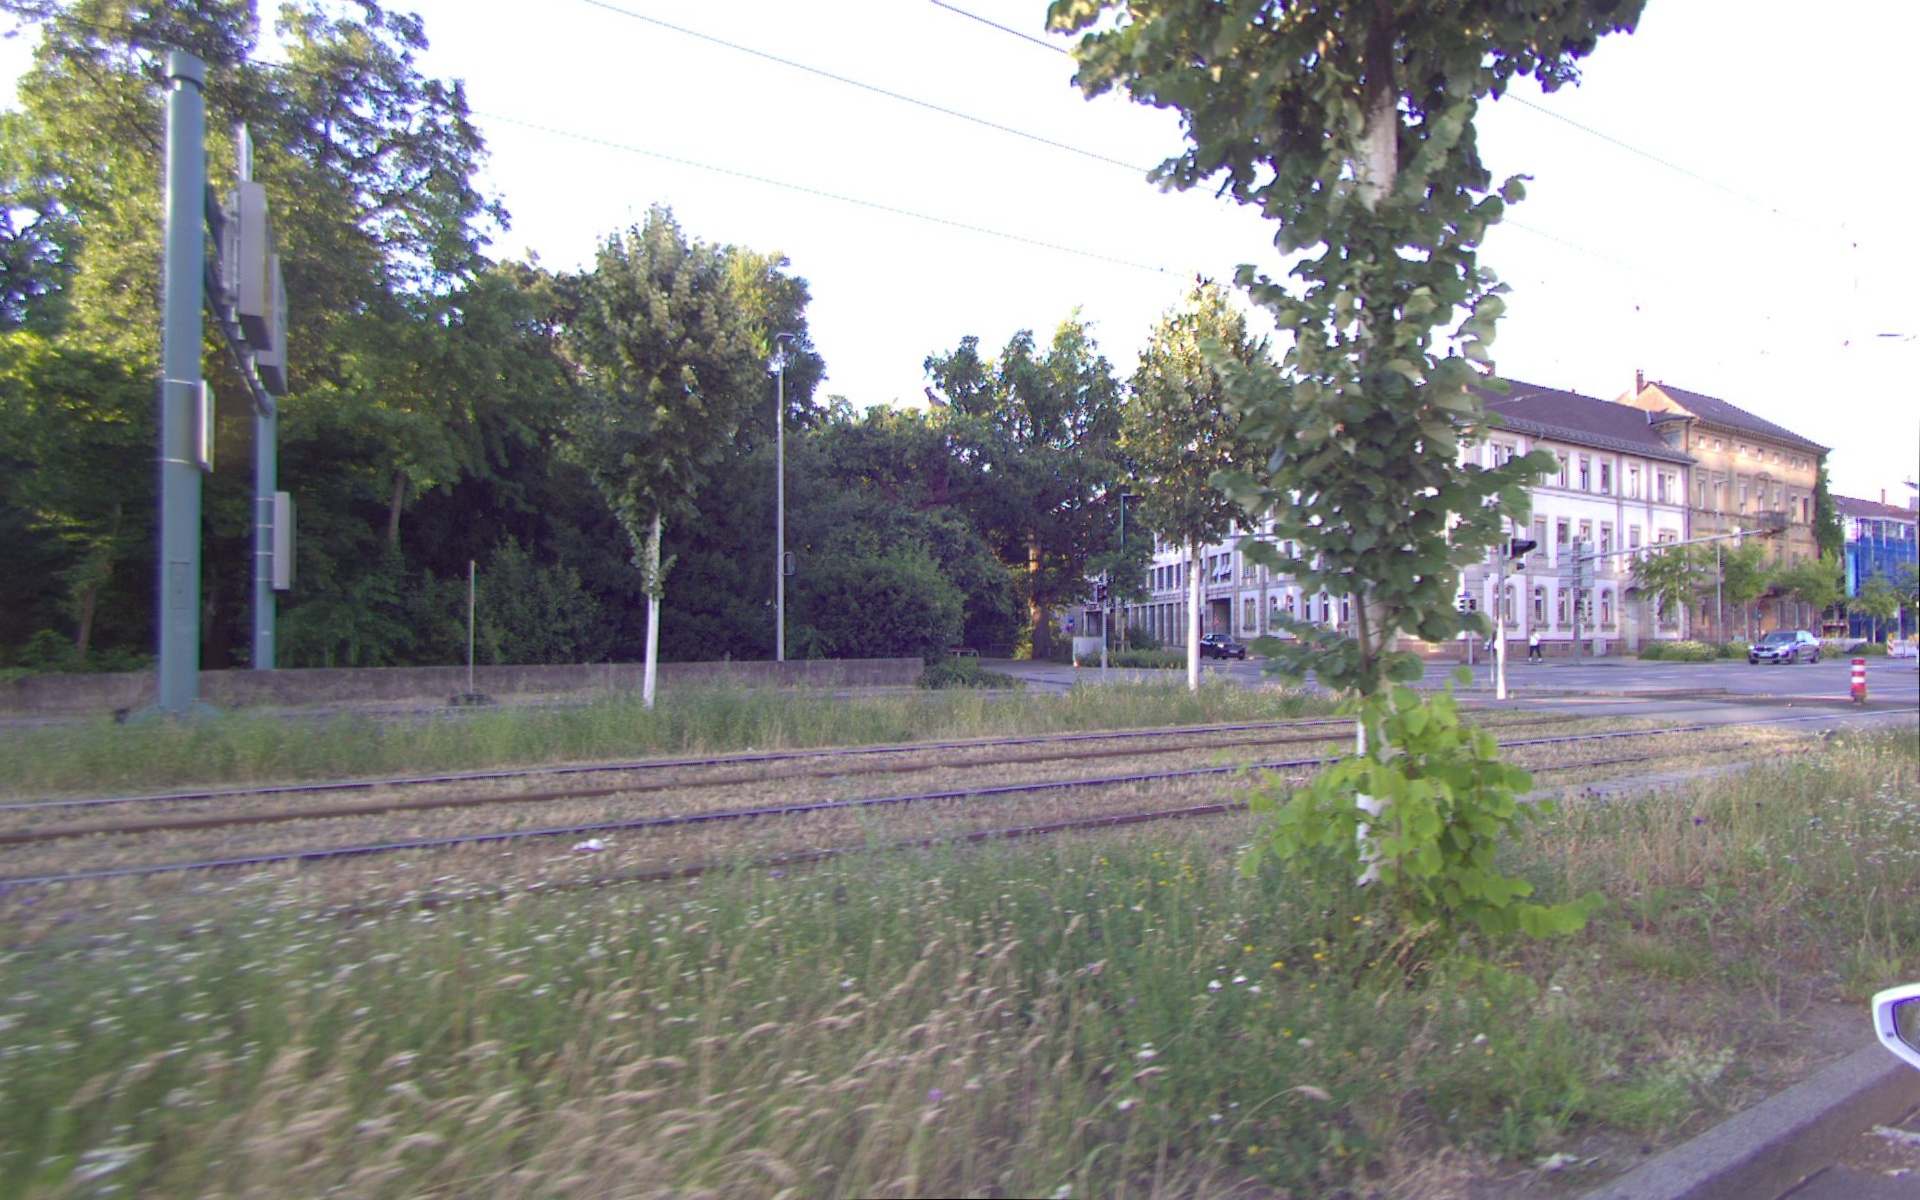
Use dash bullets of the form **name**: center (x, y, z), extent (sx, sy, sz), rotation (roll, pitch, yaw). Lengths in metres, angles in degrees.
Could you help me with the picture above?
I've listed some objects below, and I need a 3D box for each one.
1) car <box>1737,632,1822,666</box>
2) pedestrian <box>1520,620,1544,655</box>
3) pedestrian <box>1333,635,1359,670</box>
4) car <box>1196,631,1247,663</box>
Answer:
- **car**: center (40.718, 2.444, 49.906), extent (4.076, 1.601, 1.984), rotation (1, -3, -31)
- **pedestrian**: center (29.199, 1.926, 51.300), extent (0.799, 1.739, 0.702), rotation (1, 1, -16)
- **pedestrian**: center (16.685, 2.246, 43.390), extent (0.926, 1.478, 0.599), rotation (1, 0, -34)
- **car**: center (14.721, 2.600, 56.649), extent (1.755, 1.576, 3.999), rotation (1, 0, -1)
